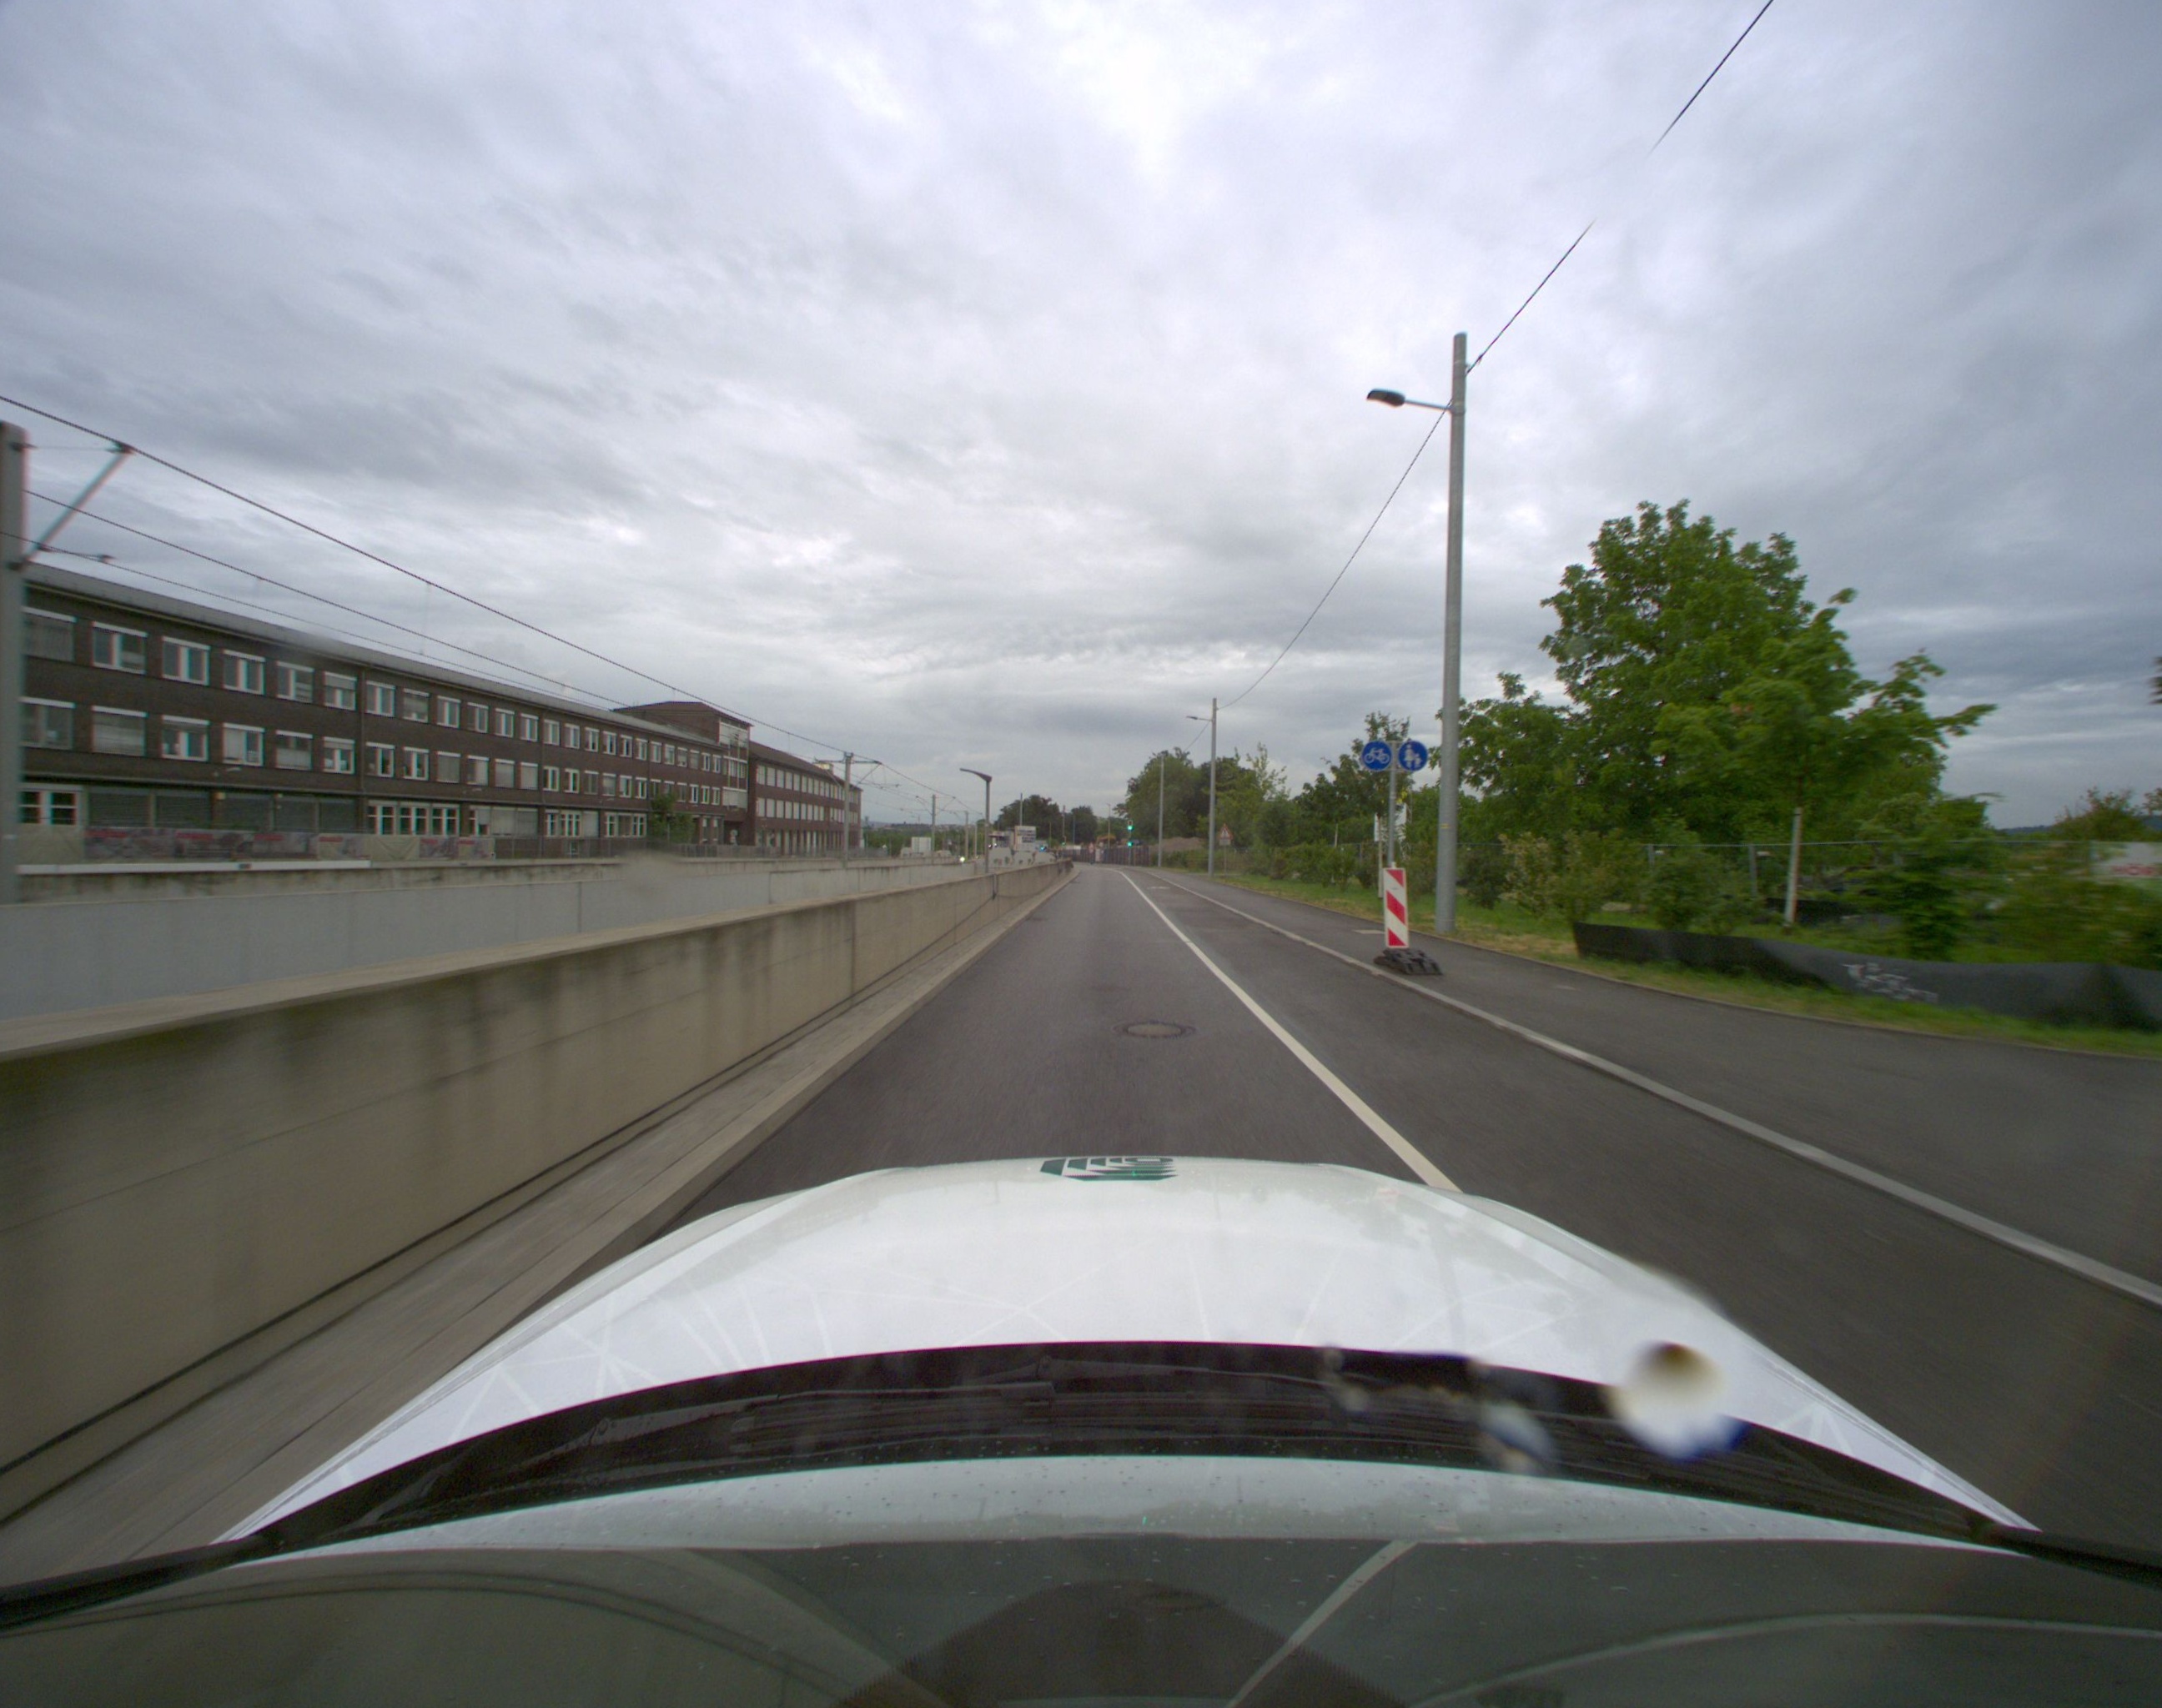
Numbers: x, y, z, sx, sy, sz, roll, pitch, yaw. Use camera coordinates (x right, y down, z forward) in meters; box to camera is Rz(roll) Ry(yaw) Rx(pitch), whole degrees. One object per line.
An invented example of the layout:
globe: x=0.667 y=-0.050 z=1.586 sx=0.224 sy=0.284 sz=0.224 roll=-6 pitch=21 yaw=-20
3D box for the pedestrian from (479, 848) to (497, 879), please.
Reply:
pedestrian: x=-38.222 y=0.600 z=52.477 sx=0.669 sy=2.013 sz=0.652 roll=0 pitch=0 yaw=-1
